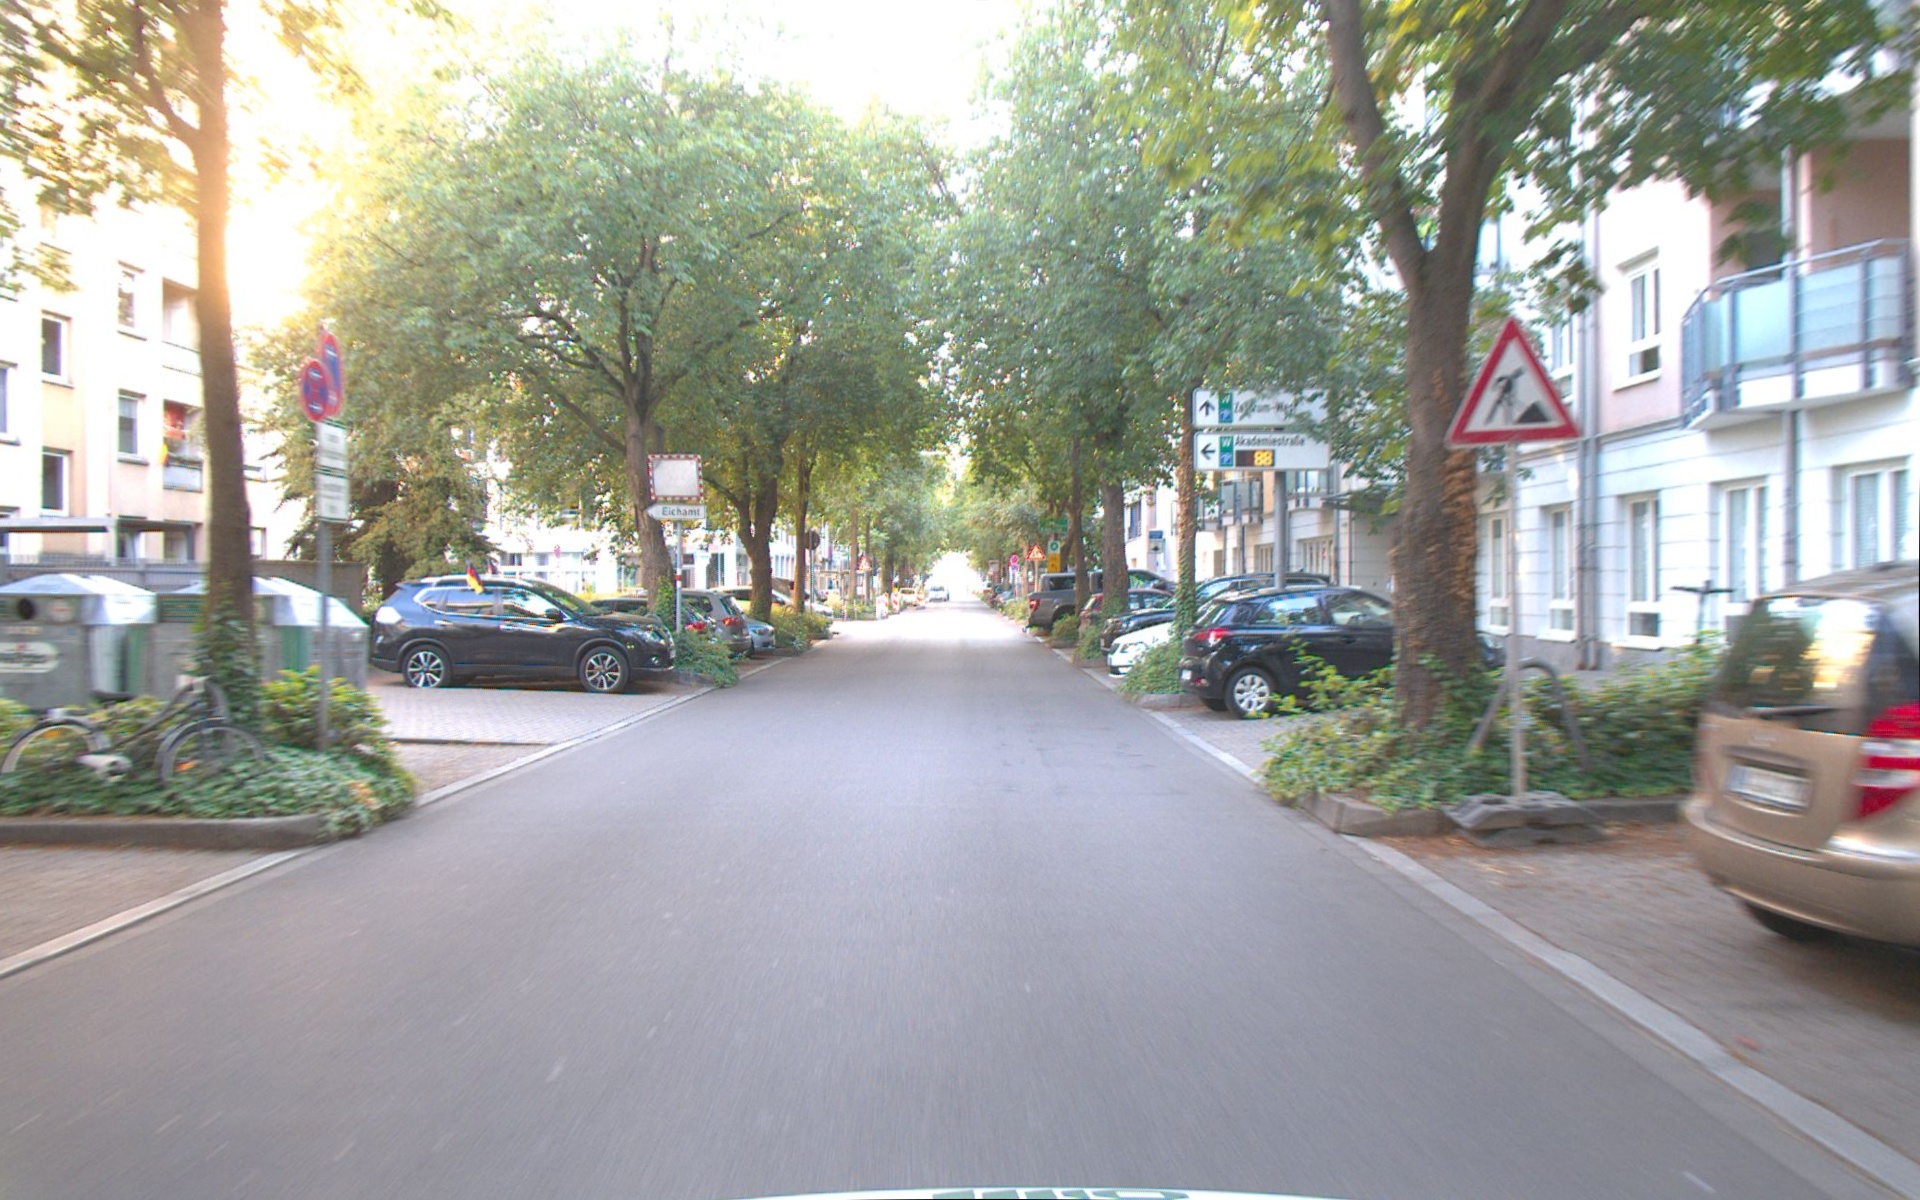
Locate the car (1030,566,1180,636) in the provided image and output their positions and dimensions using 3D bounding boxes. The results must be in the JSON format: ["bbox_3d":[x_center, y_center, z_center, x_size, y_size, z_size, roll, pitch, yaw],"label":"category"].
[{"bbox_3d":[4.555,0.023,52.412,4.507,2.102,2.197,-1,0,-1],"label":"car"}]

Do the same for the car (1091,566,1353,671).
[{"bbox_3d":[4.944,0.326,31.631,4.551,1.645,2.008,-4,0,-4],"label":"car"}]

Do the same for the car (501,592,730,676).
[{"bbox_3d":[-6.360,0.613,30.876,3.906,1.489,1.922,0,0,-2],"label":"car"}]

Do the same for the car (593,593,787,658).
[{"bbox_3d":[-6.229,0.582,38.552,4.200,1.454,1.879,0,0,0],"label":"car"}]

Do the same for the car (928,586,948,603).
[{"bbox_3d":[-2.200,-0.594,166.235,1.969,1.641,4.118,0,0,-1],"label":"car"}]

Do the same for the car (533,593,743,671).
[{"bbox_3d":[-6.408,0.620,33.258,3.907,1.517,1.824,0,0,-3],"label":"car"}]

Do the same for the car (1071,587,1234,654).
[{"bbox_3d":[4.625,0.486,40.051,3.700,1.571,1.877,0,0,-2],"label":"car"}]

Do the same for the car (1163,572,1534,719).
[{"bbox_3d":[4.711,0.519,20.433,4.005,1.476,1.932,-4,0,-6],"label":"car"}]

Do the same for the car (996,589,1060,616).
[{"bbox_3d":[4.147,0.149,101.079,3.904,1.612,2.000,0,0,1],"label":"car"}]

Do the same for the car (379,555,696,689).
[{"bbox_3d":[-6.448,0.325,25.653,4.414,1.989,1.999,0,0,-2],"label":"car"}]

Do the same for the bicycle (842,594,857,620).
[{"bbox_3d":[-5.190,0.333,77.761,0.670,1.173,1.979,0,1,-5],"label":"bicycle"}]

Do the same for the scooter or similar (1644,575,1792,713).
[{"bbox_3d":[7.221,0.392,15.824,0.642,1.224,1.454,-3,1,-3],"label":"scooter or similar"}]

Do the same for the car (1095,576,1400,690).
[{"bbox_3d":[4.518,0.501,26.456,4.507,1.493,1.796,-3,0,-1],"label":"car"}]

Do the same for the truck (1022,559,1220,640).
[{"bbox_3d":[4.766,-0.027,49.670,5.767,2.351,2.212,0,0,0],"label":"truck"}]

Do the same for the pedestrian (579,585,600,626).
[{"bbox_3d":[-16.838,0.241,75.202,0.871,1.883,0.873,0,0,-11],"label":"pedestrian"}]

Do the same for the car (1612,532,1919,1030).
[{"bbox_3d":[4.867,0.487,6.383,3.889,1.613,1.916,-3,0,-1],"label":"car"}]

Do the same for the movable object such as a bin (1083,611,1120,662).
[{"bbox_3d":[3.197,0.822,37.490,0.745,1.103,0.785,-2,0,1],"label":"movable object such as a bin"}]

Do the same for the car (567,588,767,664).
[{"bbox_3d":[-6.314,0.539,35.923,3.903,1.593,1.930,0,0,5],"label":"car"}]

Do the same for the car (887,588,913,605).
[{"bbox_3d":[-4.996,-0.300,137.390,1.954,1.310,3.997,0,0,-4],"label":"car"}]

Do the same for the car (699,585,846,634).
[{"bbox_3d":[-6.118,0.307,54.429,4.523,1.579,2.076,0,0,2],"label":"car"}]

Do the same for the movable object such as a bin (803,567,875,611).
[{"bbox_3d":[-6.766,-0.618,92.282,3.968,2.424,2.781,0,1,-6],"label":"movable object such as a bin"}]

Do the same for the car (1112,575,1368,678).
[{"bbox_3d":[4.840,0.446,29.038,4.137,1.463,1.930,-4,0,2],"label":"car"}]
